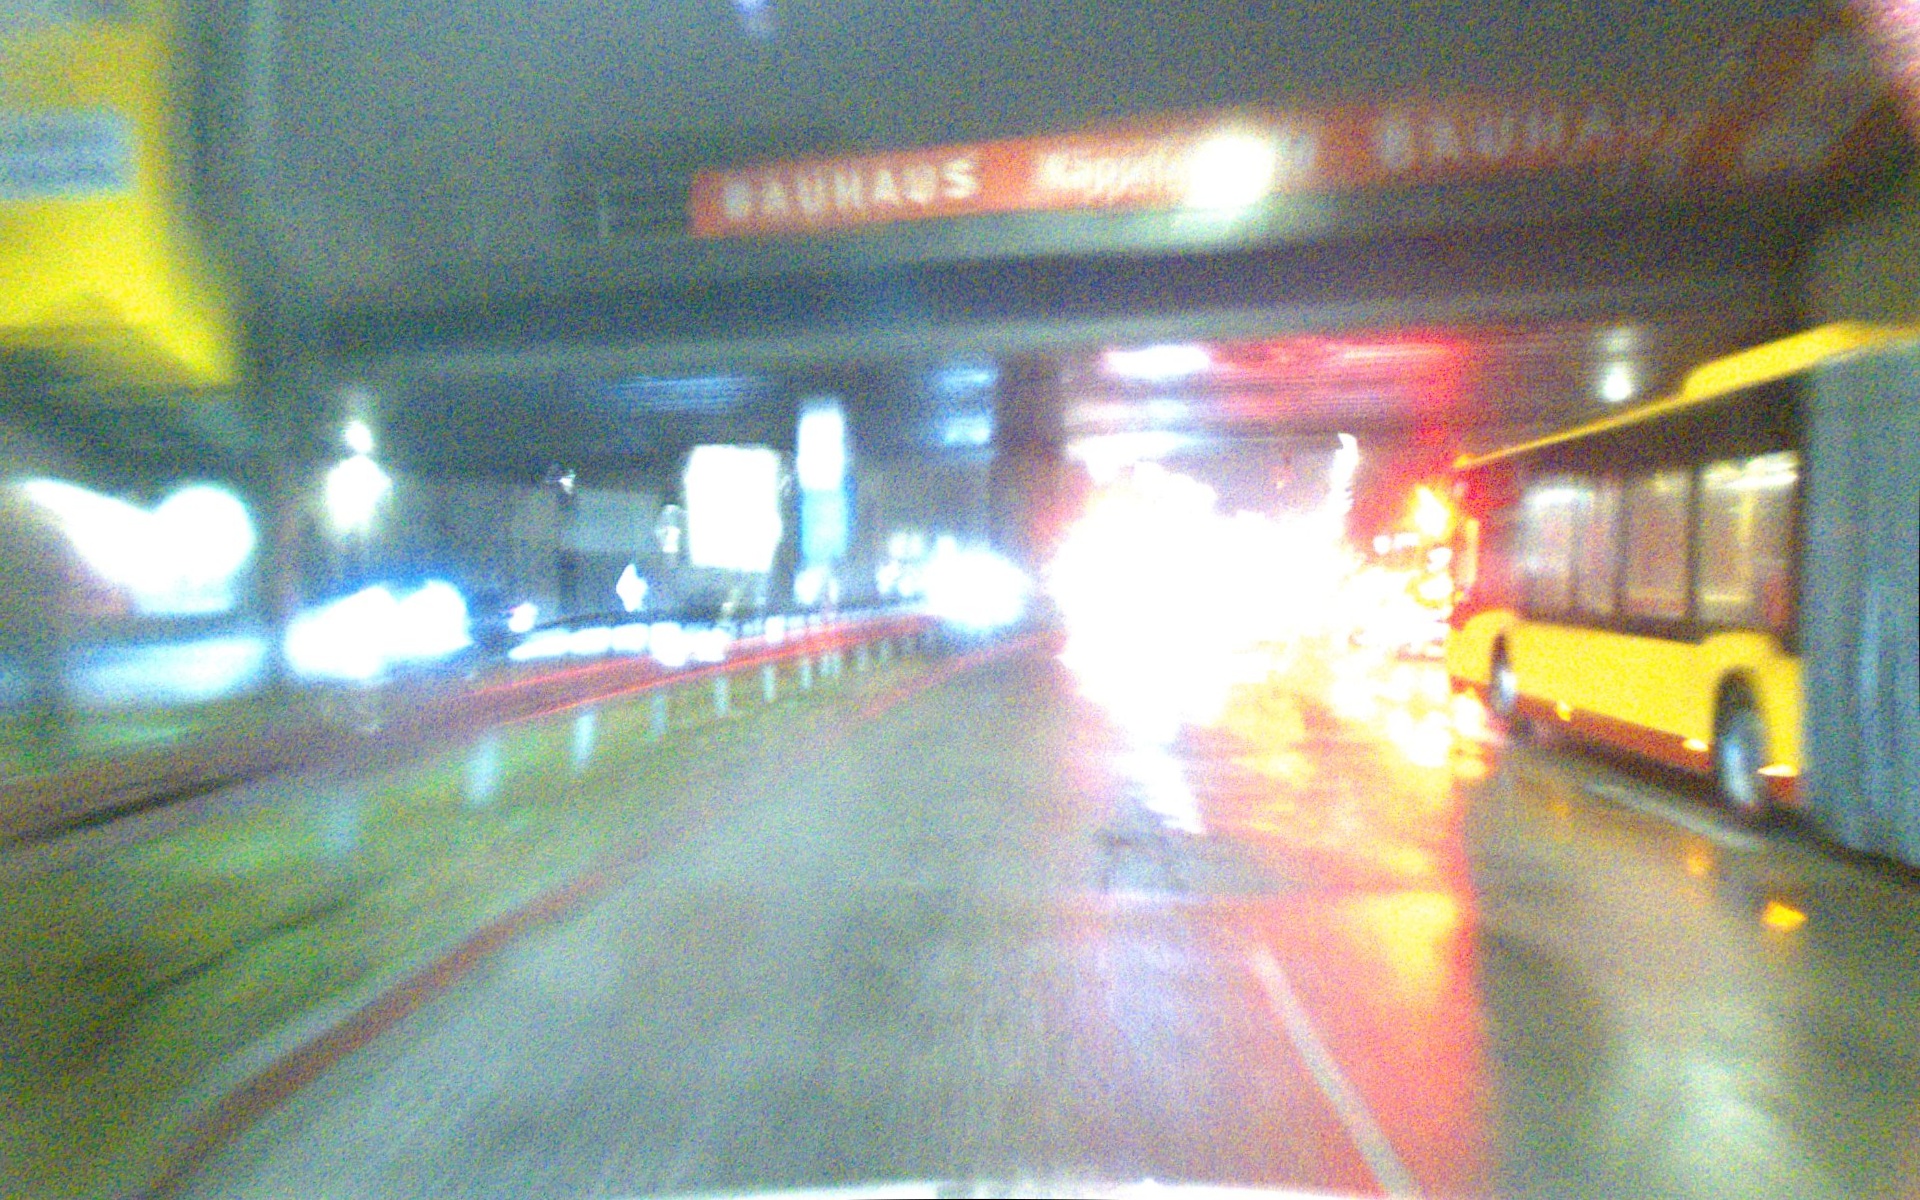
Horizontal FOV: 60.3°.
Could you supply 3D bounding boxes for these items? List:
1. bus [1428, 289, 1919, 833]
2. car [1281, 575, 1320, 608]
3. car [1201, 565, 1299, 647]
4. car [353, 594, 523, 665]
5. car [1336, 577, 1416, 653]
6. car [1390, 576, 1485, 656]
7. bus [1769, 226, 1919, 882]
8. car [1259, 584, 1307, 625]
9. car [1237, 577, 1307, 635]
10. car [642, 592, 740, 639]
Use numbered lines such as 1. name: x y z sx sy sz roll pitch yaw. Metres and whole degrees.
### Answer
1. bus: 6.638 -0.314 14.435 2.980 3.268 9.055 0 1 3
2. car: 18.389 -0.489 89.141 1.750 1.713 4.003 0 1 16
3. car: 6.520 0.104 36.880 1.750 1.713 4.003 0 1 16
4. car: -10.636 0.572 34.014 1.815 1.311 4.134 -1 1 6
5. car: 10.020 0.312 39.665 1.750 1.713 4.003 0 1 16
6. car: 9.731 0.279 33.784 1.738 1.527 4.003 0 1 16
7. bus: 6.169 -0.180 5.326 2.980 3.268 9.053 0 1 2
8. car: 14.335 0.178 73.172 1.750 1.713 4.003 0 1 16
9. car: 9.607 0.152 50.799 1.750 1.713 4.003 0 1 16
10. car: -8.200 0.450 50.830 1.815 1.311 4.135 -1 1 8
